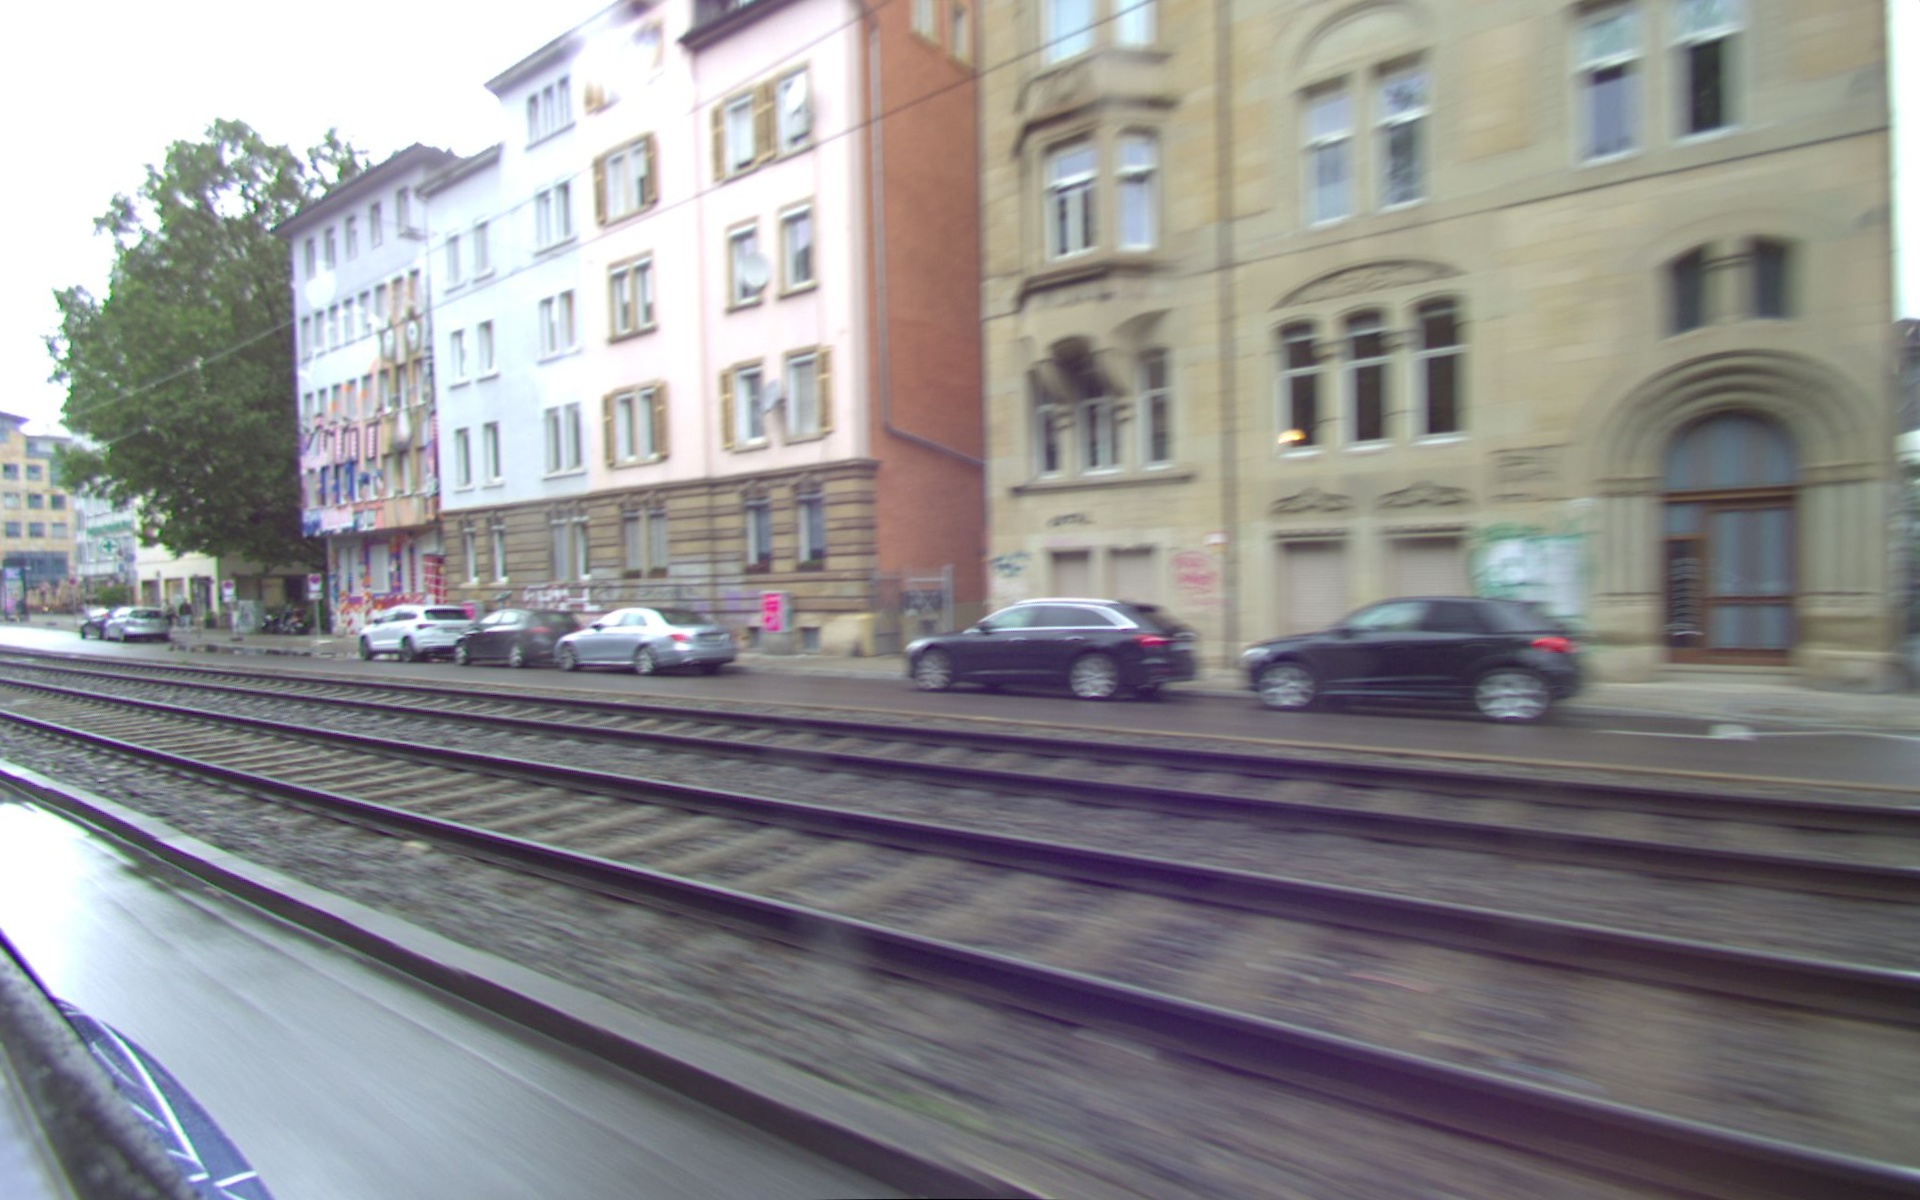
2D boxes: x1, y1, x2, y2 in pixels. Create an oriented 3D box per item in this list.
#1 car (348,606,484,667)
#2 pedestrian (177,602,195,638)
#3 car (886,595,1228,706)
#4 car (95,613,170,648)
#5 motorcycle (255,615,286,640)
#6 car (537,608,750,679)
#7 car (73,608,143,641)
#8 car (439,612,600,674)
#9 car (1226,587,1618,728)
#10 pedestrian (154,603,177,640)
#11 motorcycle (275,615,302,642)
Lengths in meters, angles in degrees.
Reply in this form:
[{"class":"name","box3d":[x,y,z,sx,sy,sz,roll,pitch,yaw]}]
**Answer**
[{"class":"car","box3d":[-15.673,1.009,29.097,4.220,1.617,1.822,-1,-1,36]},{"class":"pedestrian","box3d":[-40.327,1.032,52.717,0.536,1.883,0.643,-2,0,41]},{"class":"car","box3d":[1.389,0.725,15.729,5.013,1.467,1.975,-1,-2,37]},{"class":"car","box3d":[-38.184,1.370,46.686,4.222,1.553,1.820,-1,-1,38]},{"class":"motorcycle","box3d":[-33.037,1.319,48.492,2.562,1.154,0.467,-1,1,38]},{"class":"car","box3d":[-7.041,0.915,22.259,5.015,1.408,1.974,-1,-2,38]},{"class":"car","box3d":[-41.793,1.196,49.634,4.222,1.553,1.820,-1,-1,38]},{"class":"car","box3d":[-11.121,1.031,25.459,4.257,1.408,1.822,-1,-1,36]},{"class":"car","box3d":[5.604,0.648,12.522,4.163,1.467,1.720,-1,-2,37]},{"class":"pedestrian","box3d":[-40.816,1.119,51.995,0.536,1.883,0.799,-2,0,41]},{"class":"motorcycle","box3d":[-30.991,1.301,46.701,2.015,1.190,0.432,-1,1,38]}]
